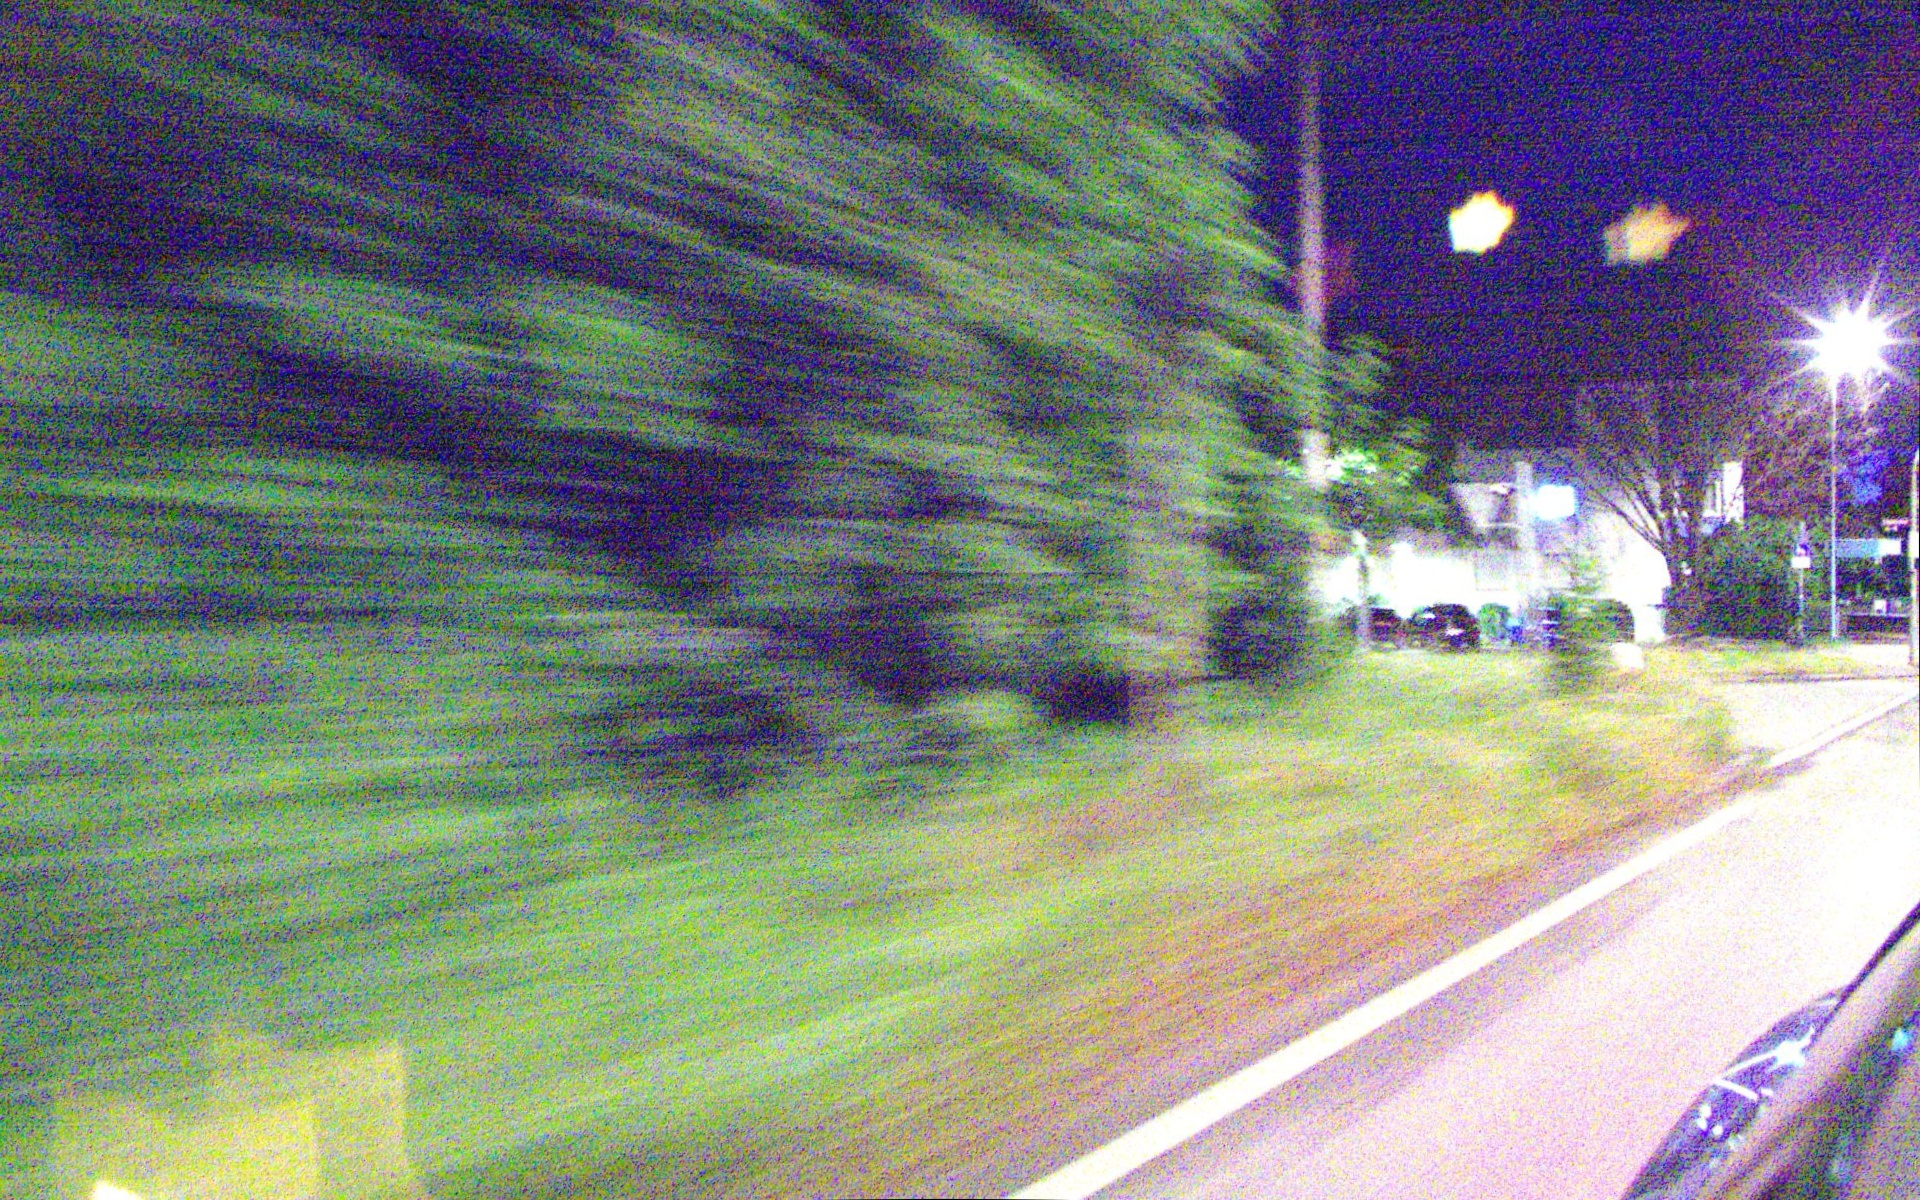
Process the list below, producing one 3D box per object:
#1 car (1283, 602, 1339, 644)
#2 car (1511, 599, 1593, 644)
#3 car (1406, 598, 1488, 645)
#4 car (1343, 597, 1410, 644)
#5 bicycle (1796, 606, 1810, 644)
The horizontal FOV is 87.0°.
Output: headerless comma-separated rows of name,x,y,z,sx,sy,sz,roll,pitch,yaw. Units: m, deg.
car,13.522,0.855,39.201,1.737,1.534,3.851,-1,-1,15
car,21.648,0.771,37.136,1.684,1.524,3.574,-2,-1,16
car,17.948,0.771,37.505,1.896,1.585,4.390,-2,-1,15
car,15.789,0.758,38.533,1.787,1.636,4.079,-2,-1,15
bicycle,25.030,0.729,30.054,0.294,0.994,1.918,-1,2,39
